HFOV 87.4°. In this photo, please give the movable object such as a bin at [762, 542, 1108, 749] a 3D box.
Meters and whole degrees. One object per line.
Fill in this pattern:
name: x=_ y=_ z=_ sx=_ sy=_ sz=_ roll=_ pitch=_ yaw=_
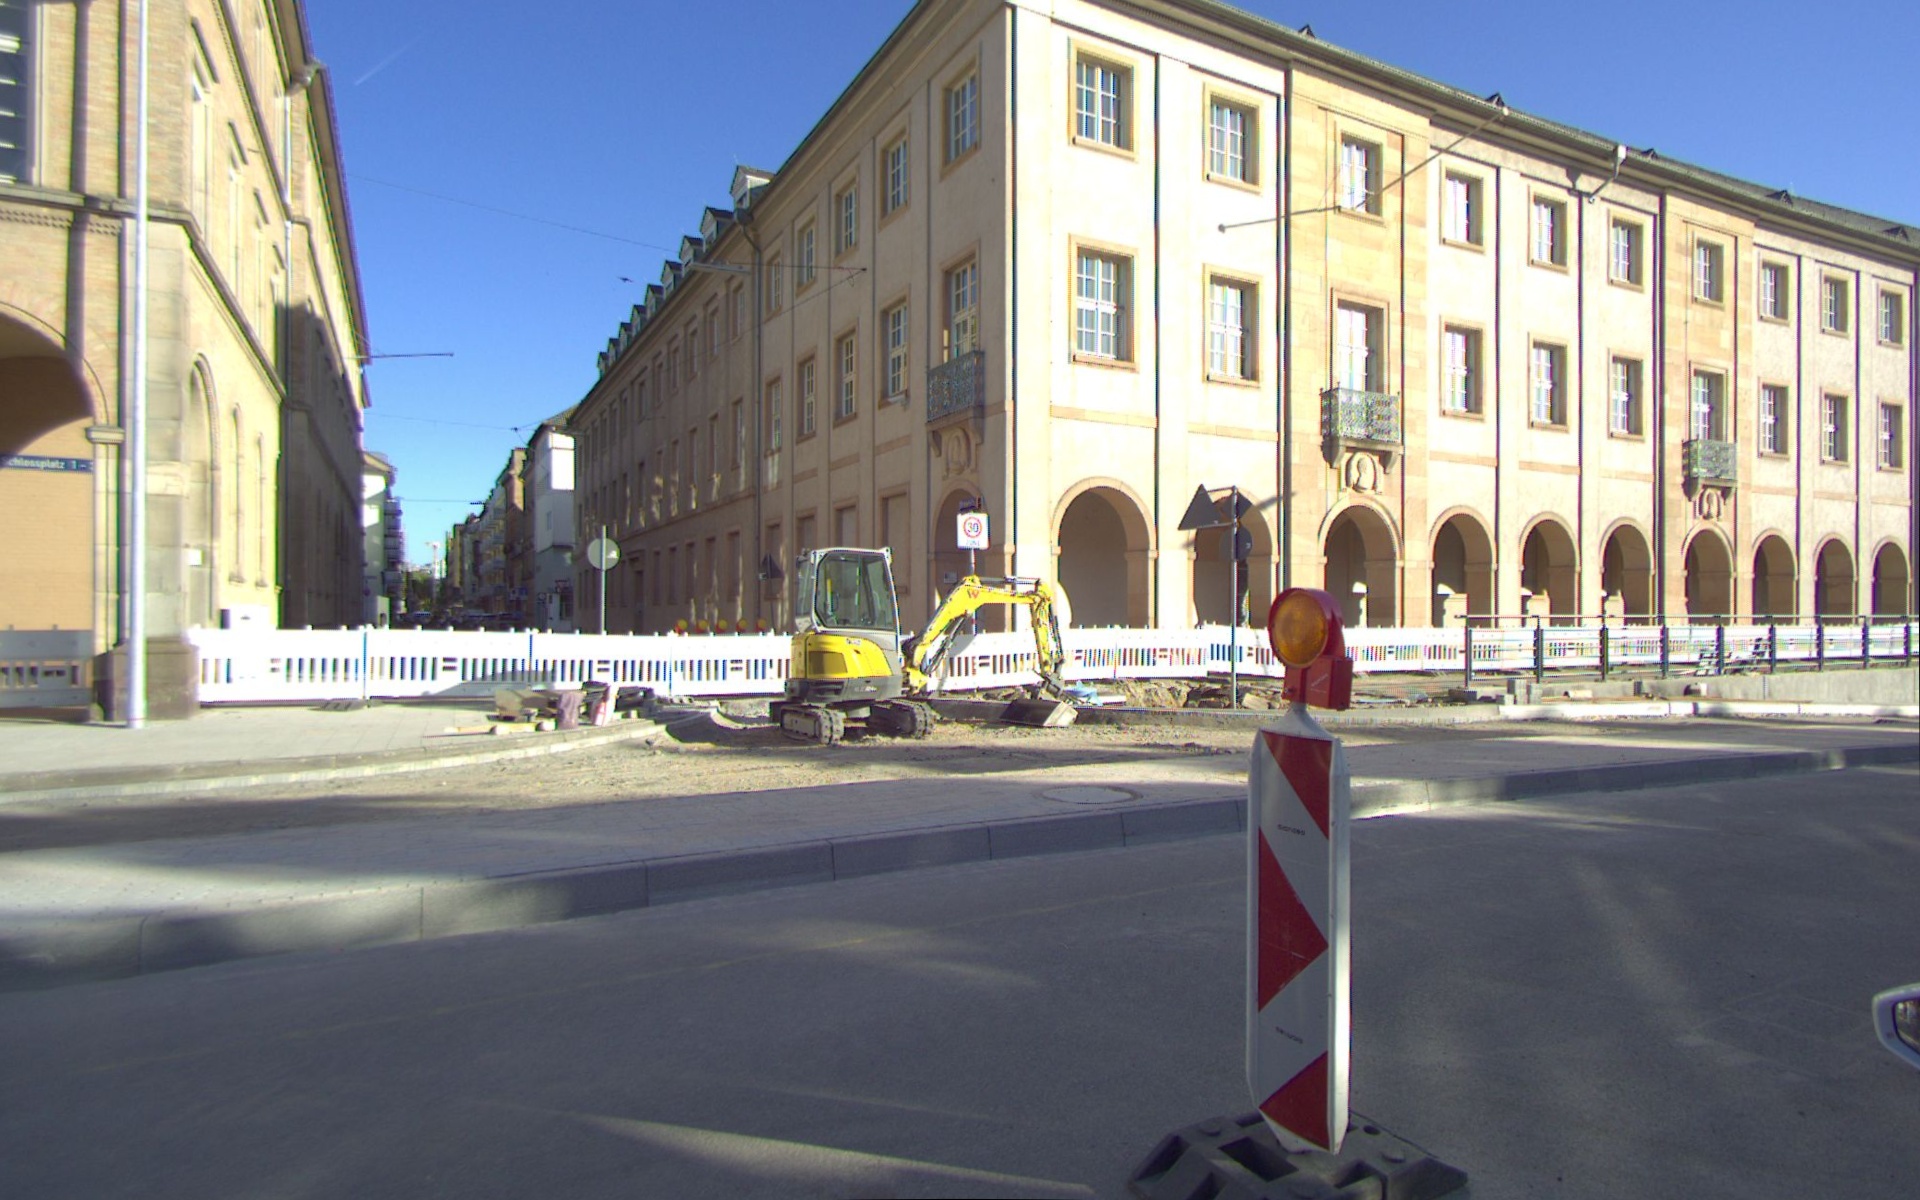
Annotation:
movable object such as a bin: x=-0.331 y=0.622 z=13.663 sx=4.252 sy=2.426 sz=2.092 roll=2 pitch=-3 yaw=-27
